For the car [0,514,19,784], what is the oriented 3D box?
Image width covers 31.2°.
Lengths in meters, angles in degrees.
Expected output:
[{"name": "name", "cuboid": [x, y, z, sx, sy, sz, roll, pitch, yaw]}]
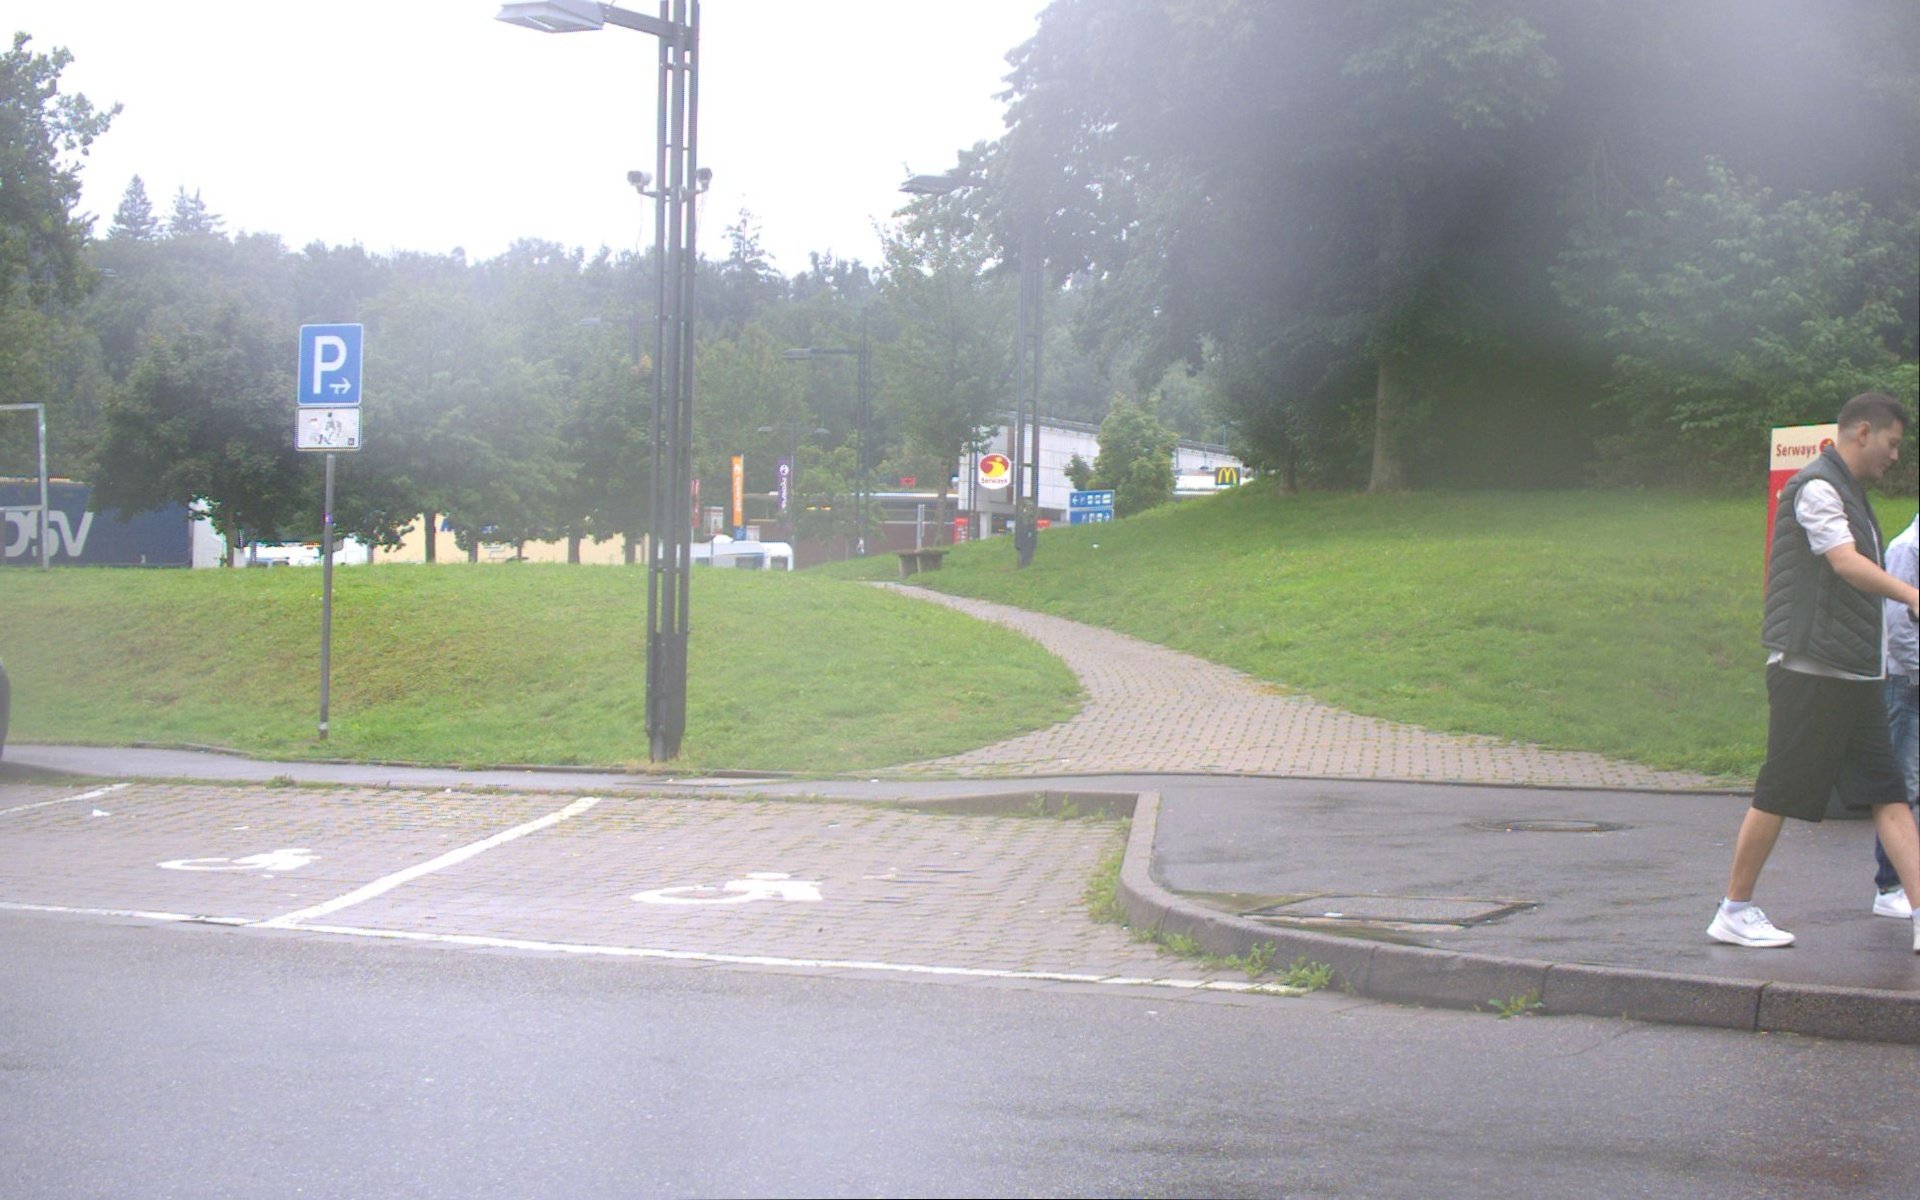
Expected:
[{"name": "car", "cuboid": [-7.771, 0.369, 21.452, 1.885, 1.821, 4.411, 0, 1, 11]}]

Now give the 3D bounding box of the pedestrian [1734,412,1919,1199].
[{"name": "pedestrian", "cuboid": [1.669, 0.601, 5.013, 0.796, 1.728, 0.838, 0, 1, 35]}]

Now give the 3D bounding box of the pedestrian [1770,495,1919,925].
[{"name": "pedestrian", "cuboid": [3.523, 0.388, 12.687, 0.890, 1.544, 0.659, 0, 1, 29]}]

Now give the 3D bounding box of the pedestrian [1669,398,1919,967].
[{"name": "pedestrian", "cuboid": [2.989, 0.259, 11.619, 0.974, 1.842, 0.772, 0, 1, 28]}]

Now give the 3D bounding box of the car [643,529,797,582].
[{"name": "car", "cuboid": [-9.318, -1.740, 133.636, 5.429, 2.007, 2.453, 1, 1, 20]}]
